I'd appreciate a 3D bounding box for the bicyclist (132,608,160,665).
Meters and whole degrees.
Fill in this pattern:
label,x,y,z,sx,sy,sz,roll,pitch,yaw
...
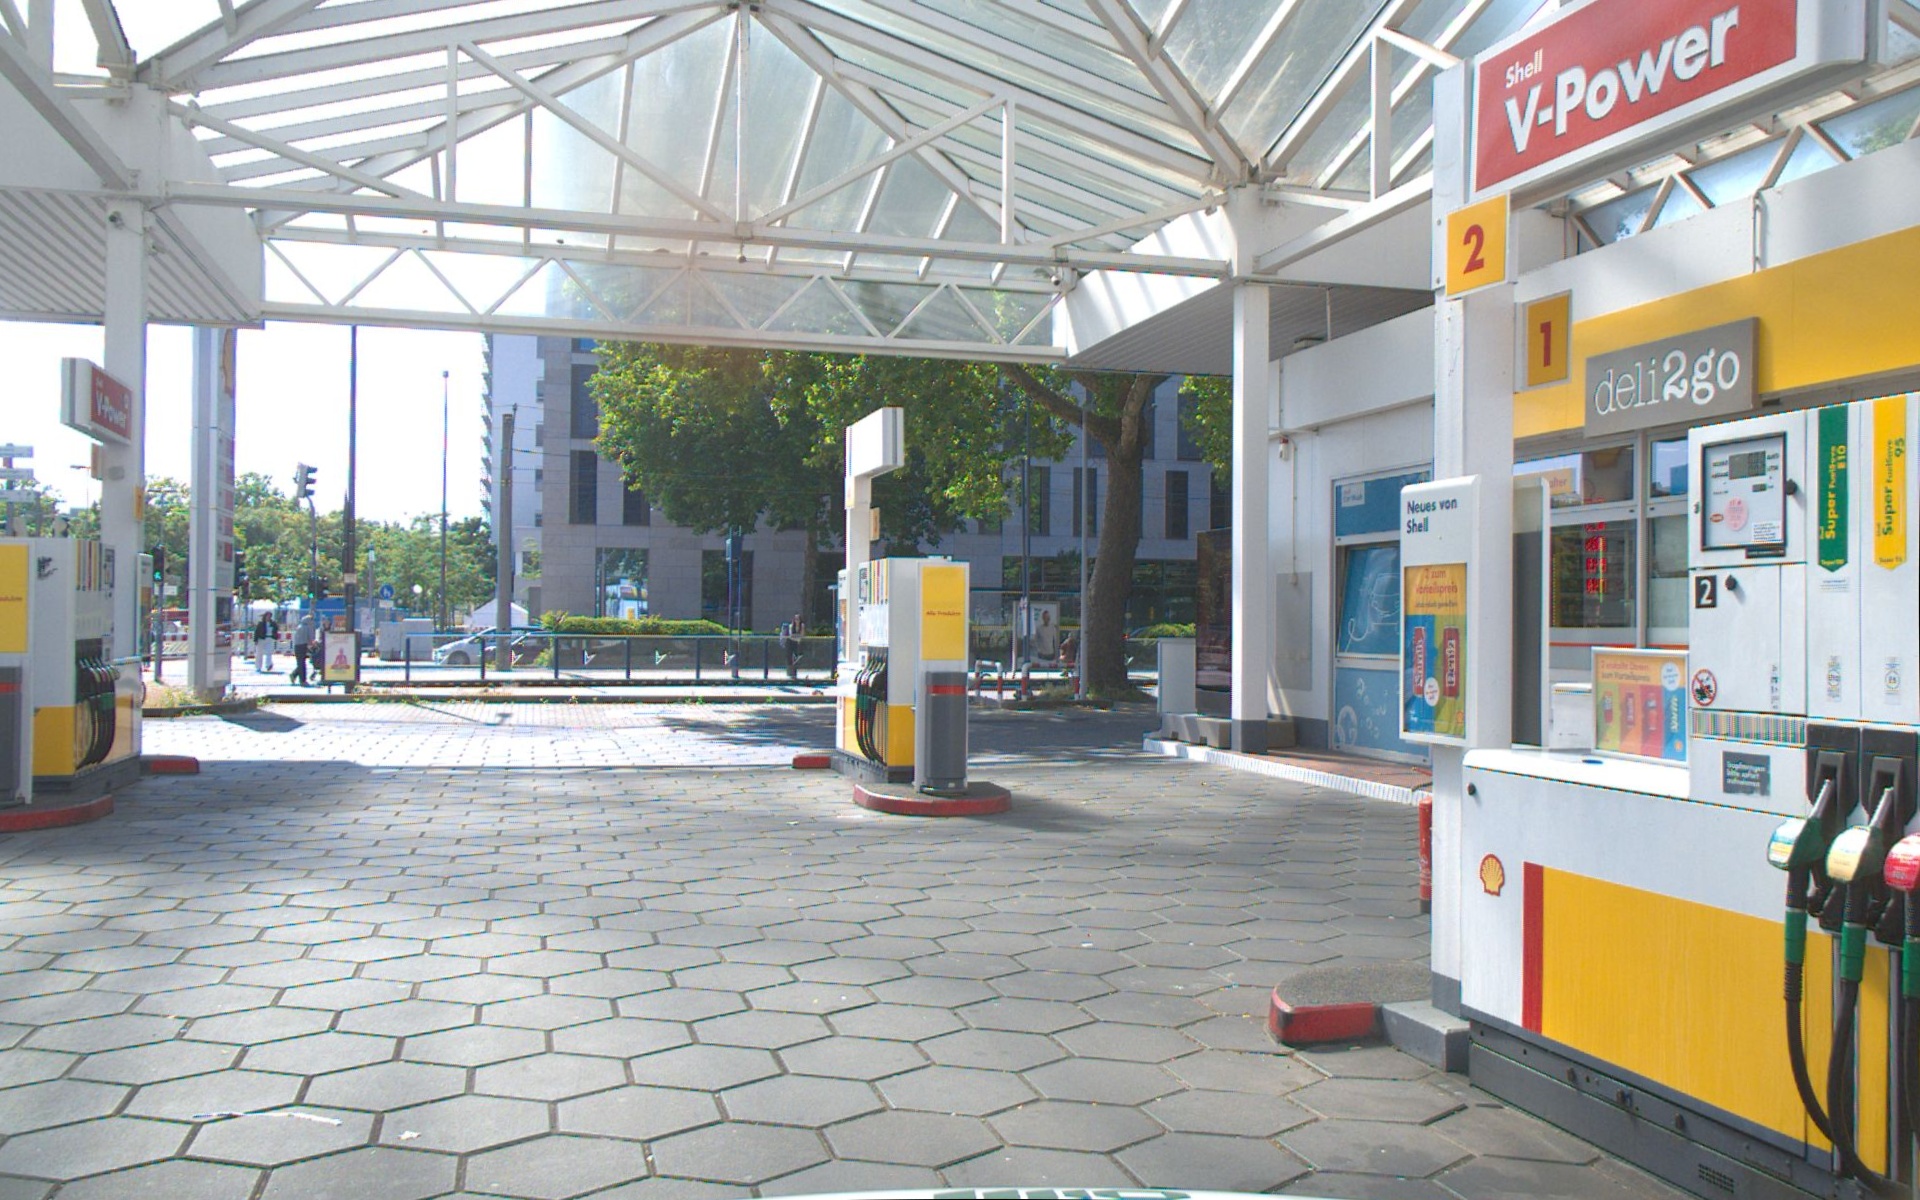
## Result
label,x,y,z,sx,sy,sz,roll,pitch,yaw
bicyclist,-23.128,1.027,47.018,0.629,1.608,1.164,1,-1,-23

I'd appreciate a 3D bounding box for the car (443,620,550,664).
label,x,y,z,sx,sy,sz,roll,pitch,yaw
car,-16.854,1.531,60.098,3.628,1.579,1.582,1,-1,-21

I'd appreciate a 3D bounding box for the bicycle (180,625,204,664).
label,x,y,z,sx,sy,sz,roll,pitch,yaw
bicycle,-21.987,1.263,47.384,0.516,1.101,1.854,1,-1,-22

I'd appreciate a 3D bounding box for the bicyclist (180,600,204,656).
label,x,y,z,sx,sy,sz,roll,pitch,yaw
bicyclist,-21.995,0.798,47.388,0.525,1.571,0.860,1,-2,-22

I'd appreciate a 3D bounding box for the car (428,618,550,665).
label,x,y,z,sx,sy,sz,roll,pitch,yaw
car,-16.220,1.437,56.993,3.929,1.579,1.693,1,-1,-21

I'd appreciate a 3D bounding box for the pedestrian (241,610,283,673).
label,x,y,z,sx,sy,sz,roll,pitch,yaw
pedestrian,-19.193,1.146,45.503,0.913,1.712,0.503,1,-1,-1

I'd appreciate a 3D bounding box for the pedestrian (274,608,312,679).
label,x,y,z,sx,sy,sz,roll,pitch,yaw
pedestrian,-16.190,1.046,40.150,0.768,1.712,0.498,1,-1,-31

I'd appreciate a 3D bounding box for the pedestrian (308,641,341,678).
label,x,y,z,sx,sy,sz,roll,pitch,yaw
pedestrian,-15.568,1.463,40.528,0.683,0.896,0.498,1,-1,-30

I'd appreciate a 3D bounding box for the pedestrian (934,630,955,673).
label,x,y,z,sx,sy,sz,roll,pitch,yaw
pedestrian,-0.420,1.389,44.495,0.489,1.158,0.523,1,-1,-9

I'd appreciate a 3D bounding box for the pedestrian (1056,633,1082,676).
label,x,y,z,sx,sy,sz,roll,pitch,yaw
pedestrian,2.994,1.501,45.520,0.616,1.158,0.523,1,-1,-9

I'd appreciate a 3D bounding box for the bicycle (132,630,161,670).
label,x,y,z,sx,sy,sz,roll,pitch,yaw
bicycle,-23.085,1.413,46.956,0.629,1.101,2.011,1,-1,-24

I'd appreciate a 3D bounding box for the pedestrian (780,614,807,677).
label,x,y,z,sx,sy,sz,roll,pitch,yaw
pedestrian,-4.348,1.176,43.252,0.574,1.619,0.667,1,0,-15

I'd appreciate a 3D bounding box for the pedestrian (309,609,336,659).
label,x,y,z,sx,sy,sz,roll,pitch,yaw
pedestrian,-20.156,1.070,52.291,0.638,1.567,0.502,1,-1,-6

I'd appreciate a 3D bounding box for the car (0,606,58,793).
label,x,y,z,sx,sy,sz,roll,pitch,yaw
car,-8.795,0.836,13.390,1.715,1.559,3.983,-1,-1,-15
